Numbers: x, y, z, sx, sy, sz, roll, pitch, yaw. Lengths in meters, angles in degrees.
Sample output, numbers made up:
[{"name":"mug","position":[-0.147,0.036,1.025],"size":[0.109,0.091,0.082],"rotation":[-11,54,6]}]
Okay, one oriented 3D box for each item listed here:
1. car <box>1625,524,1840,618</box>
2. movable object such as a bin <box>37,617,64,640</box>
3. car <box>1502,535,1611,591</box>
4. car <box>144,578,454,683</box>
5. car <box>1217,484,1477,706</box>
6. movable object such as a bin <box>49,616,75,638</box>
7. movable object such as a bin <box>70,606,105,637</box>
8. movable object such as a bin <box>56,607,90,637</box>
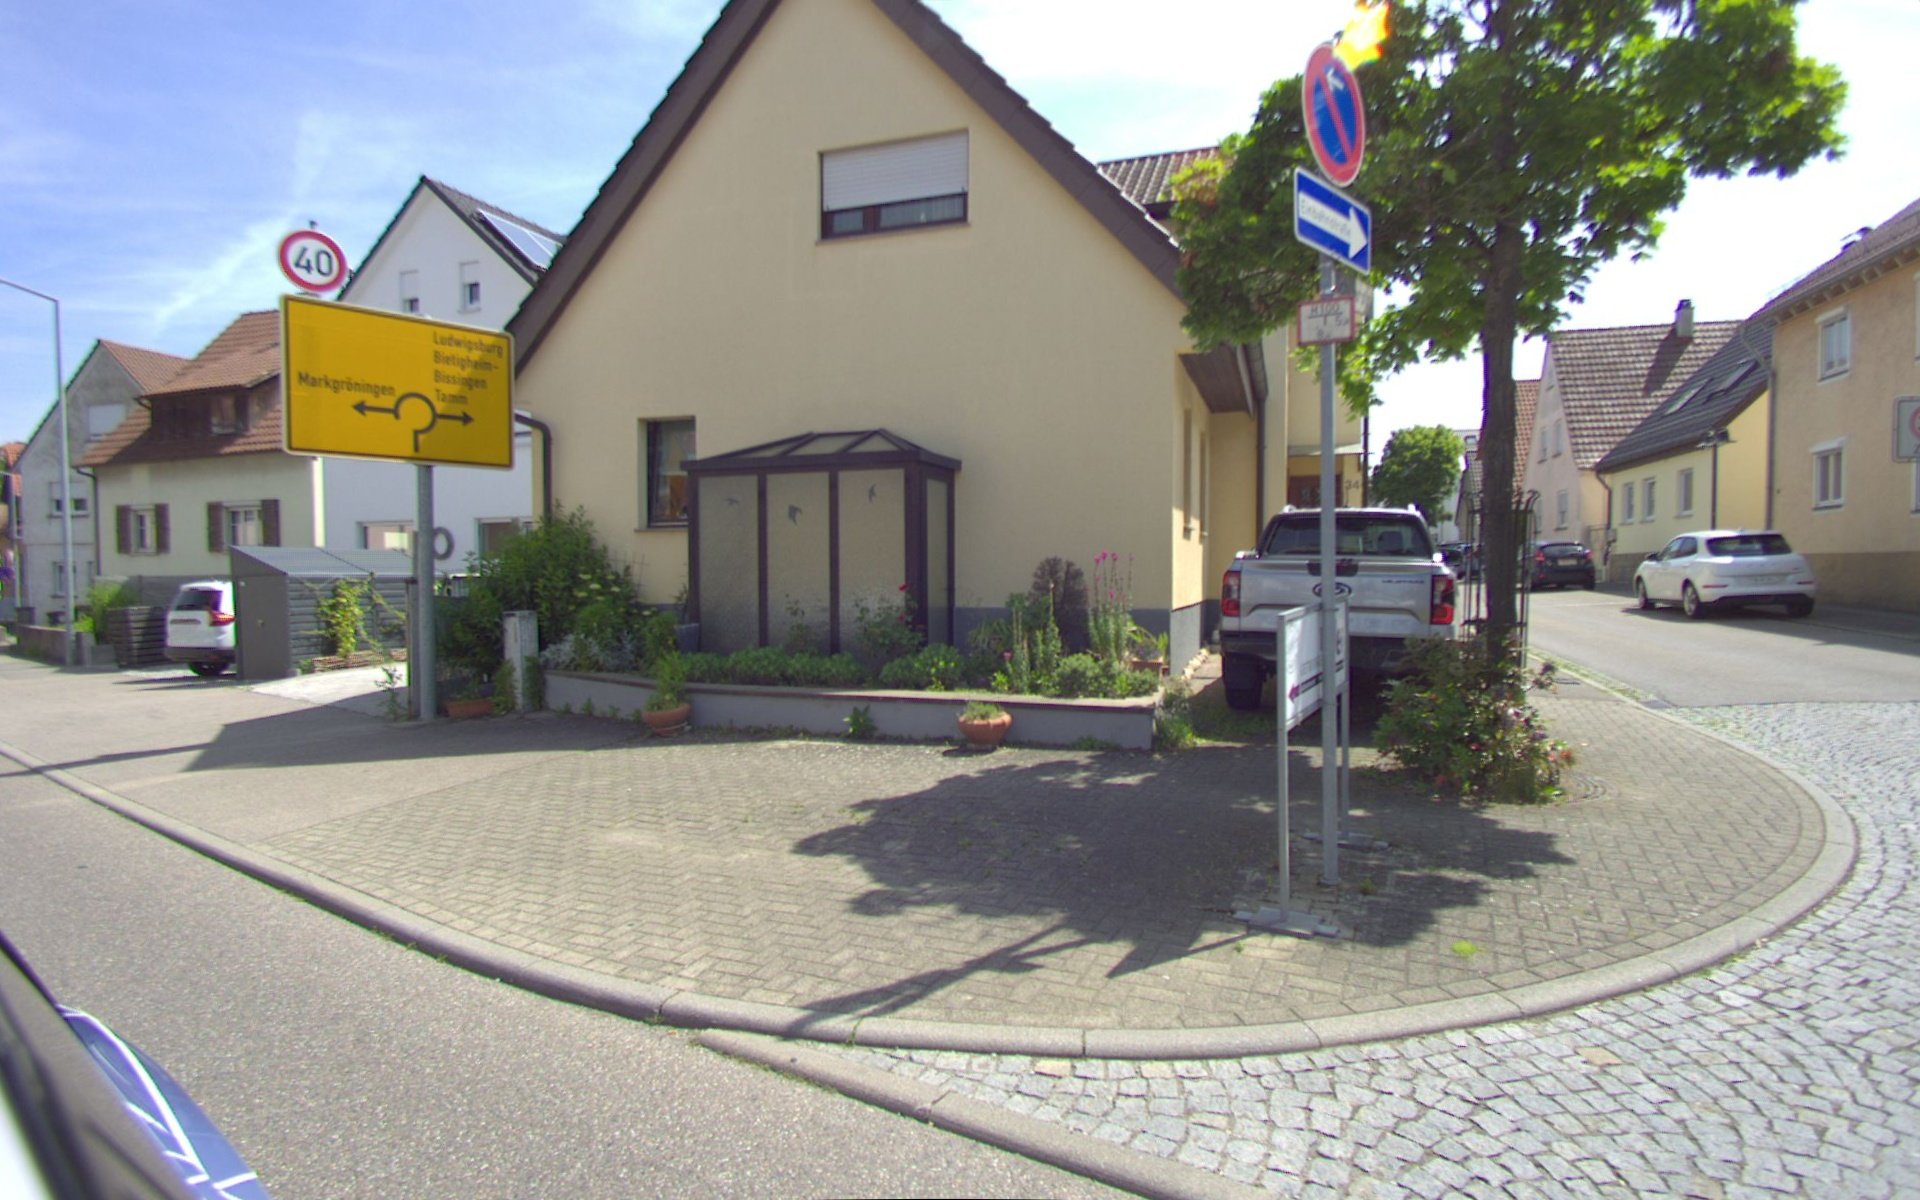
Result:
[{"name":"car","position":[14.310,-0.543,19.047],"size":[1.773,1.526,3.982],"rotation":[-1,1,15]},{"name":"movable object such as a bin","position":[-34.243,1.082,38.103],"size":[0.640,0.811,0.484],"rotation":[-1,2,15]},{"name":"car","position":[17.374,-1.057,29.666],"size":[1.654,1.487,3.822],"rotation":[-1,1,14]},{"name":"car","position":[-11.940,0.449,18.647],"size":[1.990,1.634,4.377],"rotation":[0,2,26]},{"name":"car","position":[4.480,-0.094,11.472],"size":[2.162,1.910,5.081],"rotation":[-1,1,24]},{"name":"movable object such as a bin","position":[-33.663,1.013,37.931],"size":[0.522,0.786,0.485],"rotation":[-1,2,13]},{"name":"movable object such as a bin","position":[-32.281,0.785,37.458],"size":[0.691,1.094,0.682],"rotation":[-1,2,13]},{"name":"movable object such as a bin","position":[-32.958,0.812,37.617],"size":[0.638,1.094,0.682],"rotation":[-1,2,13]}]
